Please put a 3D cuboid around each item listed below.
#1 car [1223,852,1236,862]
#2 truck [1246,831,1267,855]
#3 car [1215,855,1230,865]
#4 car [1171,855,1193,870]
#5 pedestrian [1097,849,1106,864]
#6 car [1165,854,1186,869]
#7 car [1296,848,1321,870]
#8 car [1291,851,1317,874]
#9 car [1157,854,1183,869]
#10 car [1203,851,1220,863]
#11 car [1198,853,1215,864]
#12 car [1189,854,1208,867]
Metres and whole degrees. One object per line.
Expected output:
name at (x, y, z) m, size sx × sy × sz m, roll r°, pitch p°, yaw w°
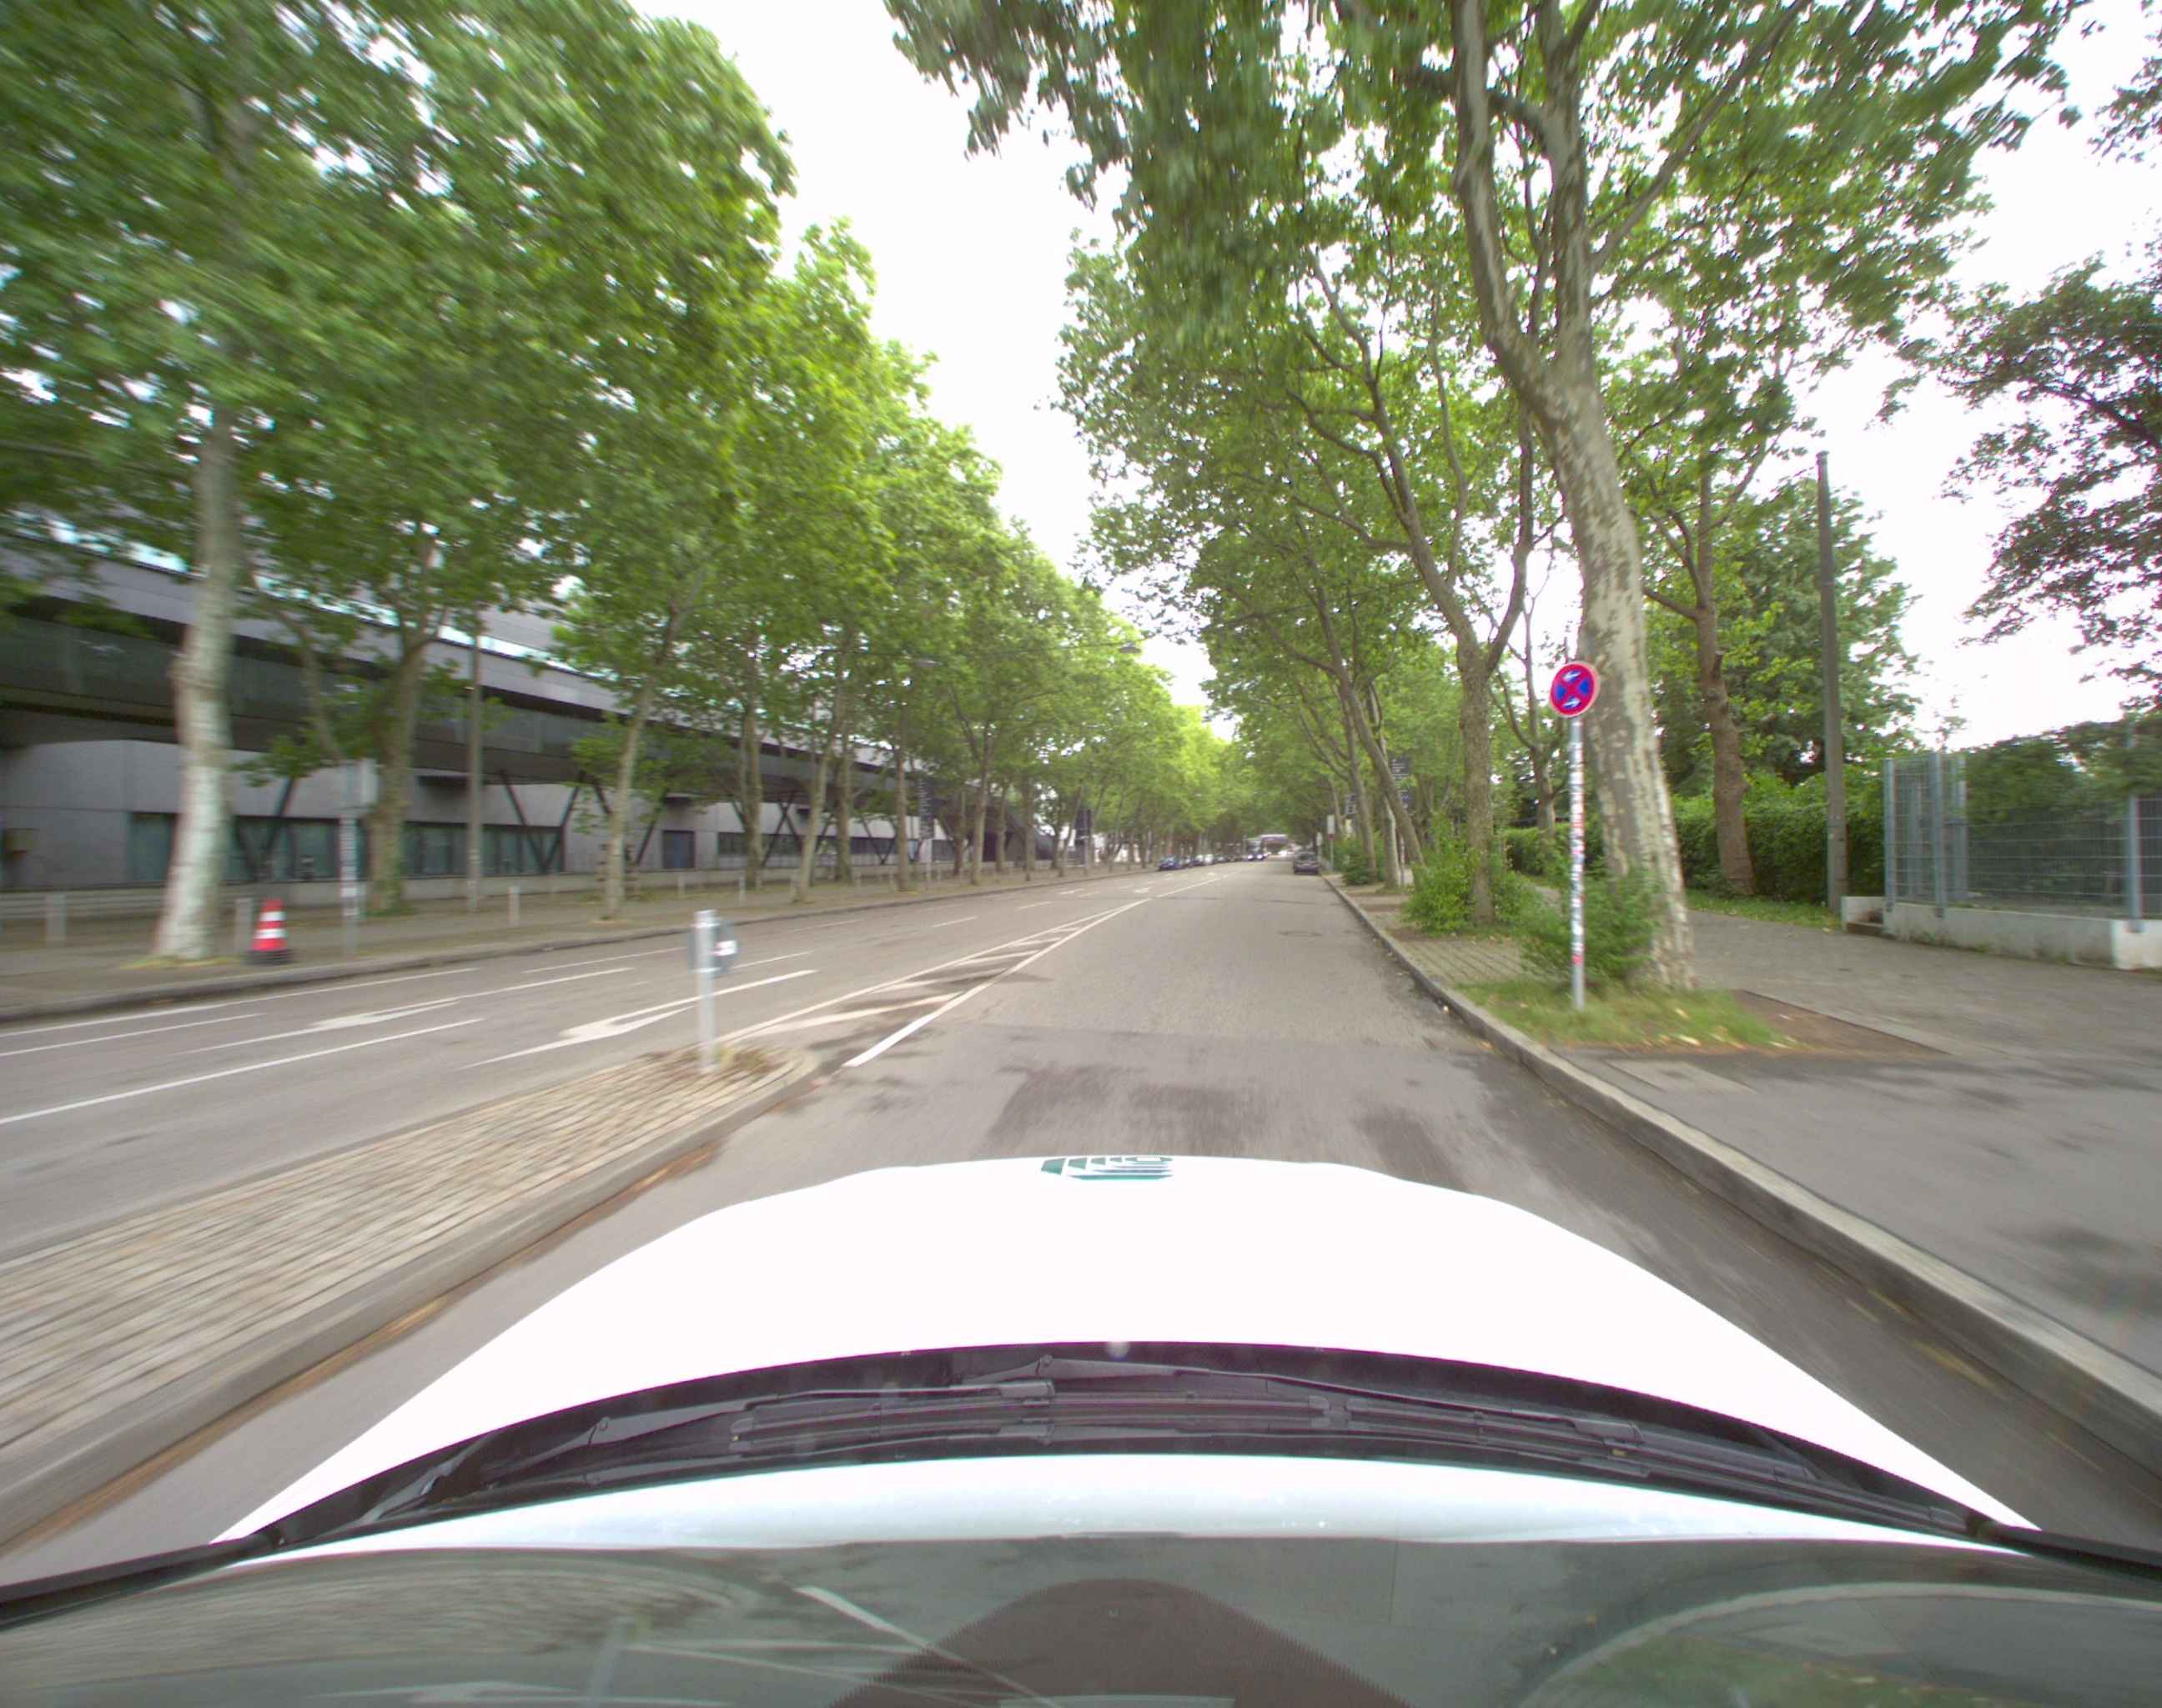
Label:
car at (24.903, 0.550, 136.858) m, size 1.881 × 1.438 × 4.014 m, roll -2°, pitch -2°, yaw 13°
truck at (30.317, -1.909, 140.303) m, size 2.620 × 3.902 × 9.583 m, roll -2°, pitch -1°, yaw 17°
car at (21.713, 0.911, 125.075) m, size 1.881 × 1.438 × 4.014 m, roll -2°, pitch -2°, yaw 13°
car at (11.100, 0.936, 89.471) m, size 1.753 × 1.419 × 3.776 m, roll -4°, pitch -2°, yaw 15°
pedestrian at (2.509, 0.329, 98.404) m, size 0.772 × 1.835 × 0.873 m, roll -1°, pitch 0°, yaw -20°
car at (9.865, 0.835, 84.651) m, size 1.754 × 1.419 × 3.773 m, roll -4°, pitch -2°, yaw 12°
car at (17.983, 0.378, 64.490) m, size 1.707 × 1.567 × 4.109 m, roll 3°, pitch 1°, yaw 13°
car at (16.251, 0.569, 59.372) m, size 1.687 × 1.519 × 4.472 m, roll 3°, pitch 1°, yaw 15°
car at (8.772, 0.741, 79.987) m, size 1.681 × 1.419 × 3.779 m, roll -4°, pitch -2°, yaw 19°
car at (17.864, 0.392, 111.195) m, size 1.881 × 1.438 × 4.014 m, roll -2°, pitch -2°, yaw 13°
car at (16.289, 0.567, 105.676) m, size 1.720 × 1.332 × 4.015 m, roll -2°, pitch -2°, yaw 14°
car at (14.260, 0.759, 98.968) m, size 1.753 × 1.419 × 3.776 m, roll -4°, pitch -2°, yaw 15°
